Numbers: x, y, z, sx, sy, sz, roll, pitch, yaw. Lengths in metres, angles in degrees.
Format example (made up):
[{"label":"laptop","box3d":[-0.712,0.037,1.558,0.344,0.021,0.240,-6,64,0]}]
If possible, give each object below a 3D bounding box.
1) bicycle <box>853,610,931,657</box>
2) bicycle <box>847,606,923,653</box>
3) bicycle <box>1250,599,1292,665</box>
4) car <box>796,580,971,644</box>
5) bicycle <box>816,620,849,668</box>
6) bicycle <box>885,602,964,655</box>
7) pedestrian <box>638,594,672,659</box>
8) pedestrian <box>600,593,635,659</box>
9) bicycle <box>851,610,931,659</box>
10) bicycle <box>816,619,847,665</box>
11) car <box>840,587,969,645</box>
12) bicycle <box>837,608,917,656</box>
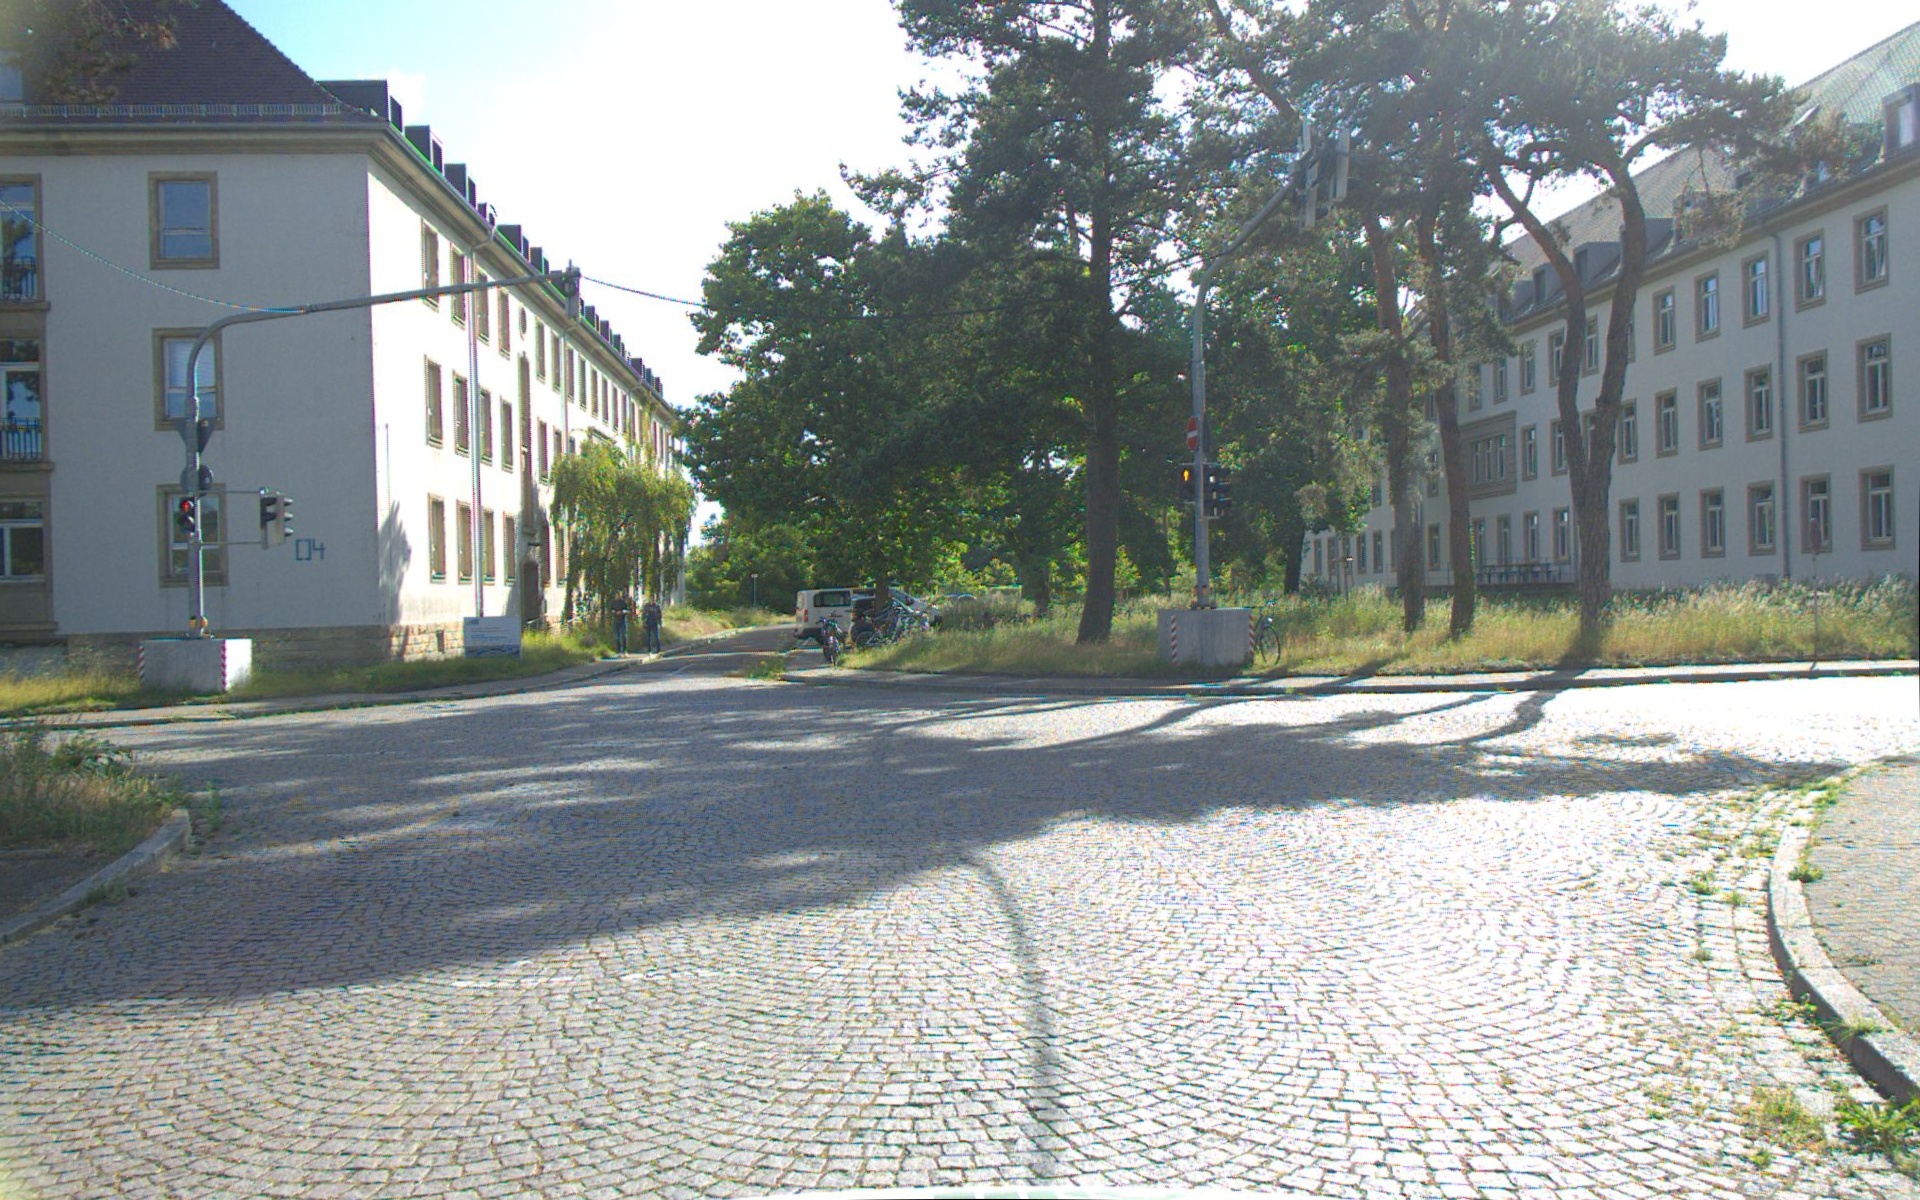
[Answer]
[{"label":"bicycle","box3d":[-1.646,0.799,39.952,1.819,1.049,0.749,-2,0,-7]},{"label":"bicycle","box3d":[-1.955,0.754,43.043,1.905,1.149,0.646,-2,0,-9]},{"label":"bicycle","box3d":[5.308,0.541,28.264,0.456,1.099,1.173,-2,0,0]},{"label":"car","box3d":[-2.722,0.410,58.087,5.824,2.049,2.469,-2,0,-11]},{"label":"bicycle","box3d":[-2.809,0.959,36.392,0.682,0.988,1.858,-1,0,-6]},{"label":"bicycle","box3d":[-0.896,0.706,41.501,1.904,1.257,0.484,-2,0,-7]},{"label":"pedestrian","box3d":[-8.801,0.762,47.735,0.751,1.849,0.683,-2,0,7]},{"label":"pedestrian","box3d":[-9.782,0.744,47.290,0.794,1.849,0.555,-2,0,7]},{"label":"bicycle","box3d":[-1.714,0.844,40.744,1.904,1.149,0.749,-2,0,-7]},{"label":"bicycle","box3d":[-2.987,0.958,38.312,0.682,0.988,1.858,-1,0,-6]},{"label":"car","box3d":[-1.832,0.510,53.699,3.916,1.713,1.842,-2,0,-12]},{"label":"bicycle","box3d":[-2.101,0.806,41.936,1.921,1.149,0.641,-2,0,-31]}]
